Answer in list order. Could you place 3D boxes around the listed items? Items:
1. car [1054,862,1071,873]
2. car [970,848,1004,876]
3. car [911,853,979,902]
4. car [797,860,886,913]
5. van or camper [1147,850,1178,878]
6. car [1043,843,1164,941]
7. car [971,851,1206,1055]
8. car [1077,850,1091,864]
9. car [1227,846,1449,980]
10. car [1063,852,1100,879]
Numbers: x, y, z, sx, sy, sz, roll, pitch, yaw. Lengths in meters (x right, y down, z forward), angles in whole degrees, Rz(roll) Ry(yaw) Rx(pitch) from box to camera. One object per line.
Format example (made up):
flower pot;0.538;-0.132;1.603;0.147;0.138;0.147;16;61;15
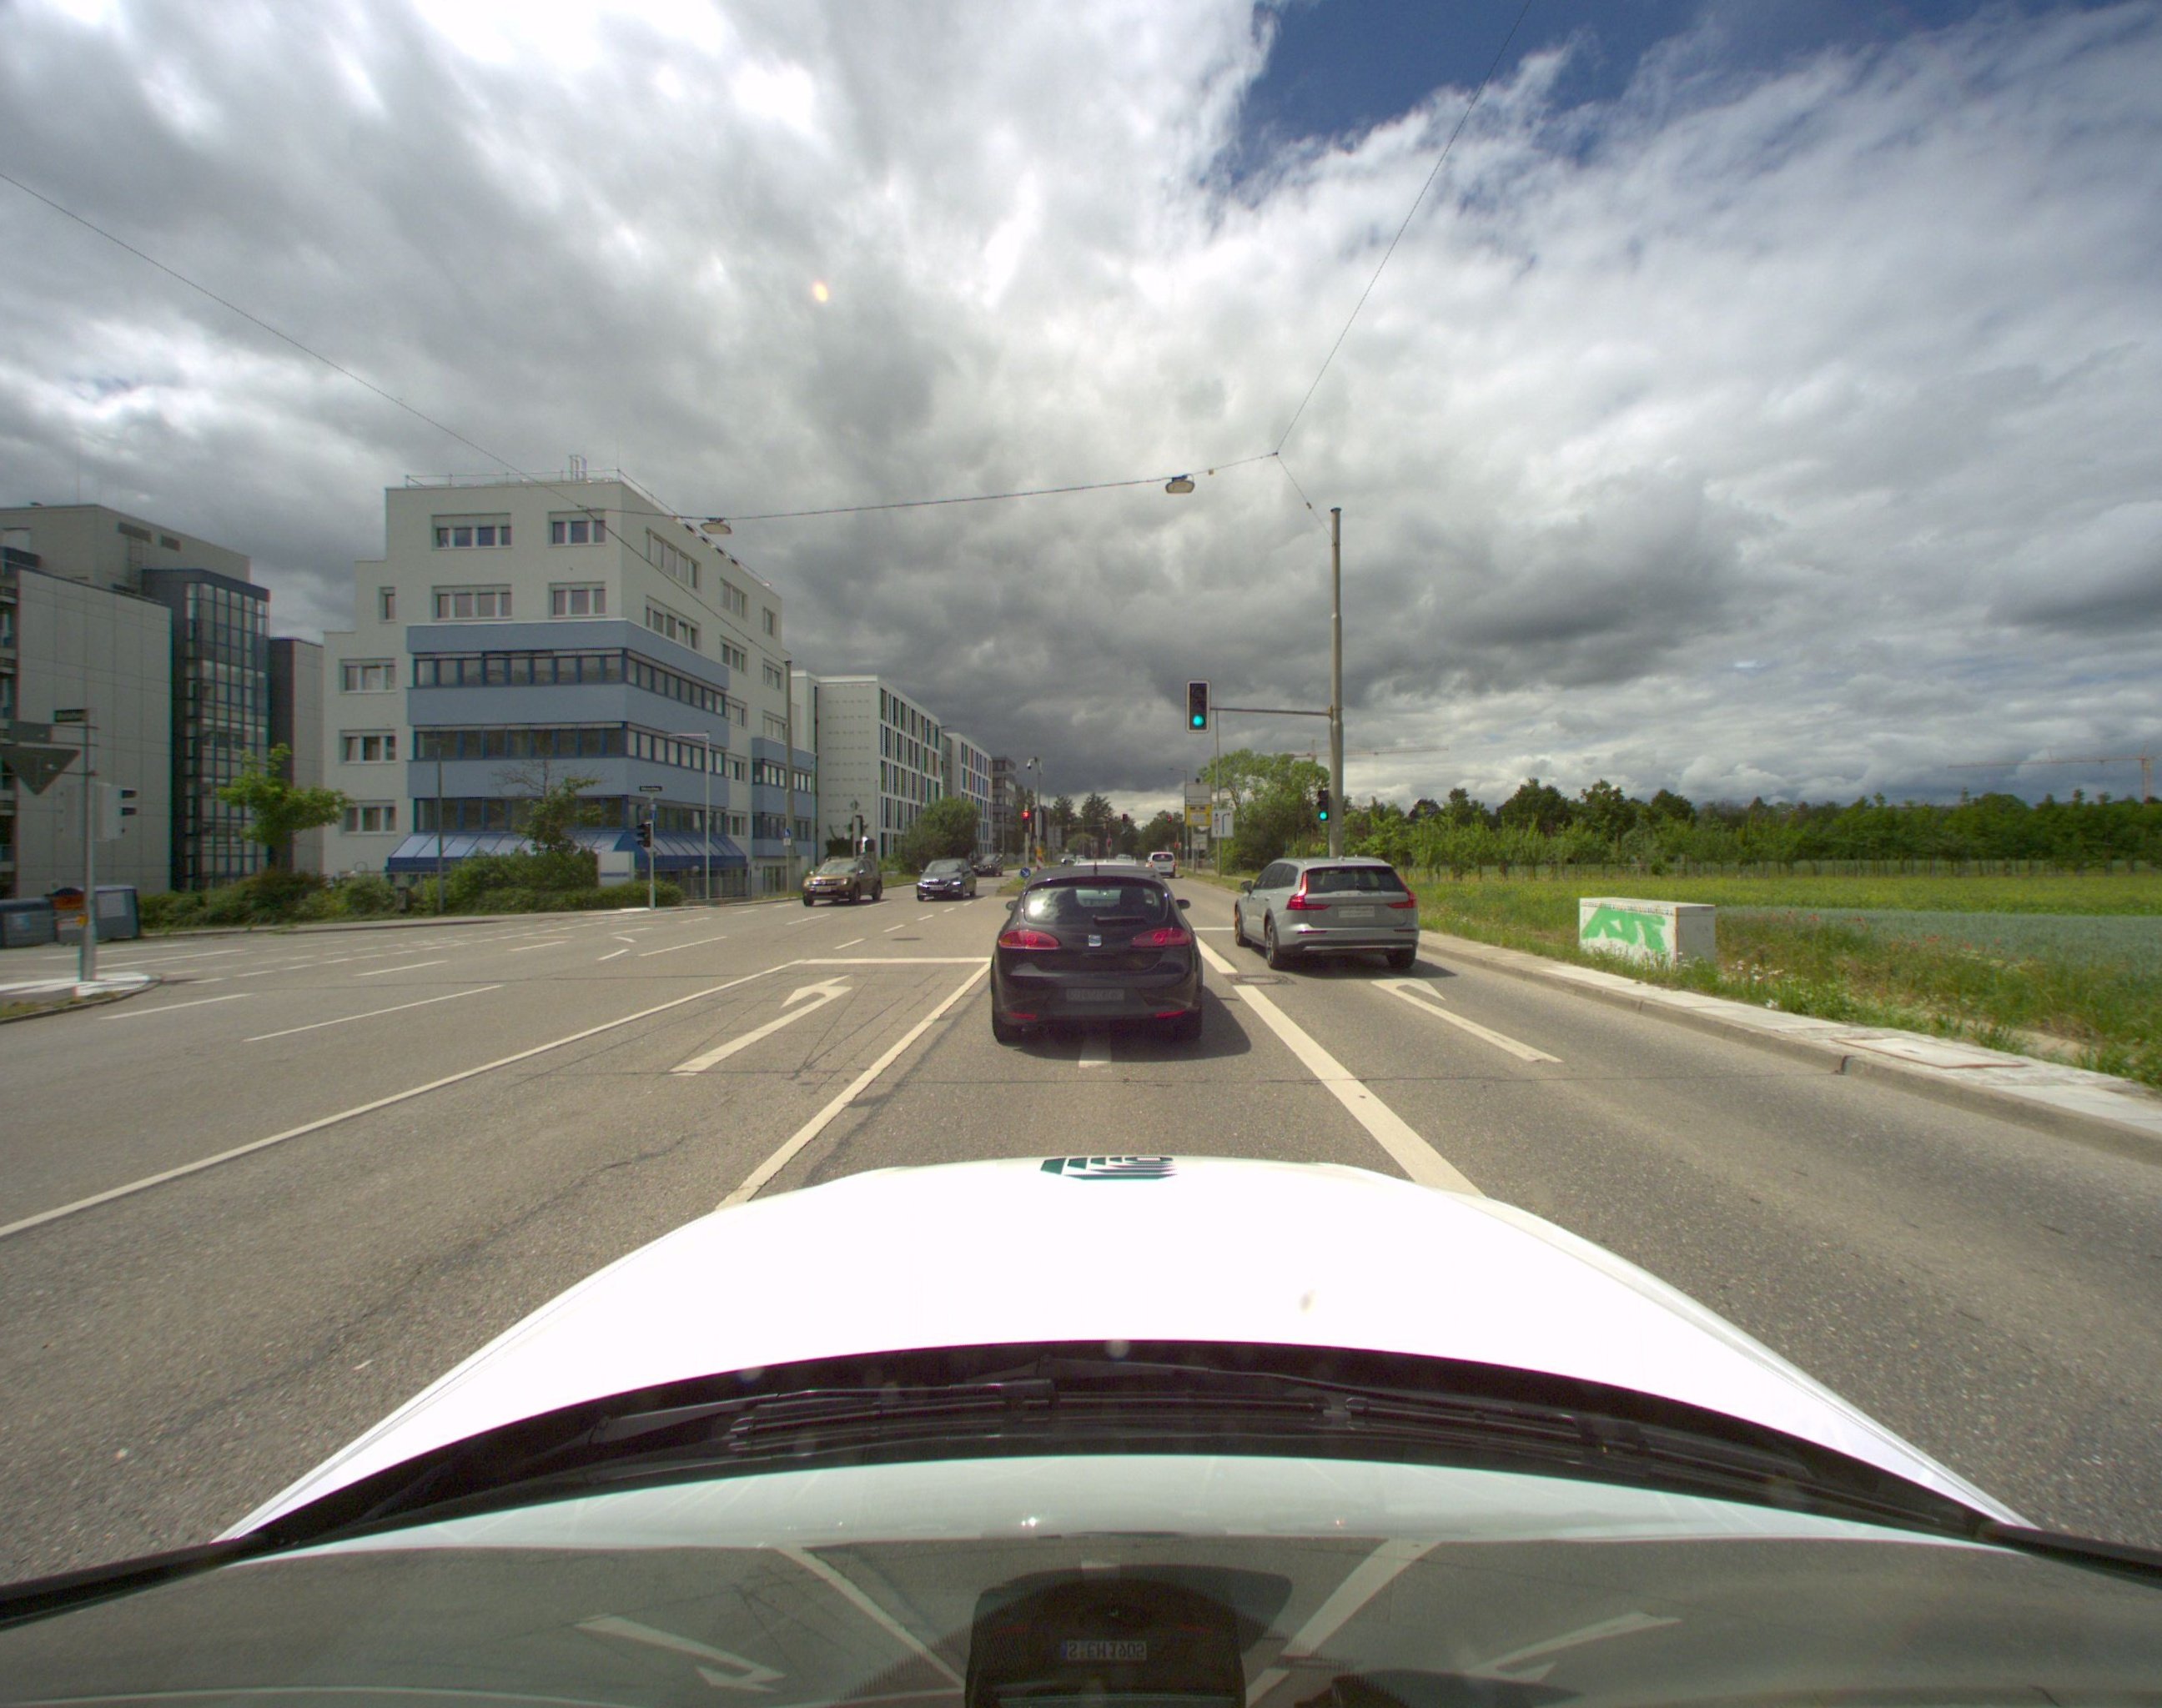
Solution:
car;-2.320;1.732;104.556;1.986;1.409;4.001;-1;-1;2
car;-6.944;0.615;60.670;1.987;2.014;4.479;-1;-1;-1
car;-4.952;0.815;30.230;1.662;1.524;4.010;-3;1;2
car;-8.279;1.084;28.555;1.744;1.631;4.001;-3;0;2
van or camper;5.866;0.699;59.054;1.892;1.926;4.001;-1;-1;1
car;0.414;0.651;15.549;1.976;1.590;4.226;0;-1;1
car;0.234;0.743;8.024;1.739;1.484;4.006;0;-1;5
car;0.444;0.488;126.182;1.986;2.014;4.001;-1;-1;2
car;3.463;0.740;11.935;1.951;1.525;4.341;-2;-1;2
car;0.071;0.678;47.280;1.837;1.461;4.060;-1;-1;4
